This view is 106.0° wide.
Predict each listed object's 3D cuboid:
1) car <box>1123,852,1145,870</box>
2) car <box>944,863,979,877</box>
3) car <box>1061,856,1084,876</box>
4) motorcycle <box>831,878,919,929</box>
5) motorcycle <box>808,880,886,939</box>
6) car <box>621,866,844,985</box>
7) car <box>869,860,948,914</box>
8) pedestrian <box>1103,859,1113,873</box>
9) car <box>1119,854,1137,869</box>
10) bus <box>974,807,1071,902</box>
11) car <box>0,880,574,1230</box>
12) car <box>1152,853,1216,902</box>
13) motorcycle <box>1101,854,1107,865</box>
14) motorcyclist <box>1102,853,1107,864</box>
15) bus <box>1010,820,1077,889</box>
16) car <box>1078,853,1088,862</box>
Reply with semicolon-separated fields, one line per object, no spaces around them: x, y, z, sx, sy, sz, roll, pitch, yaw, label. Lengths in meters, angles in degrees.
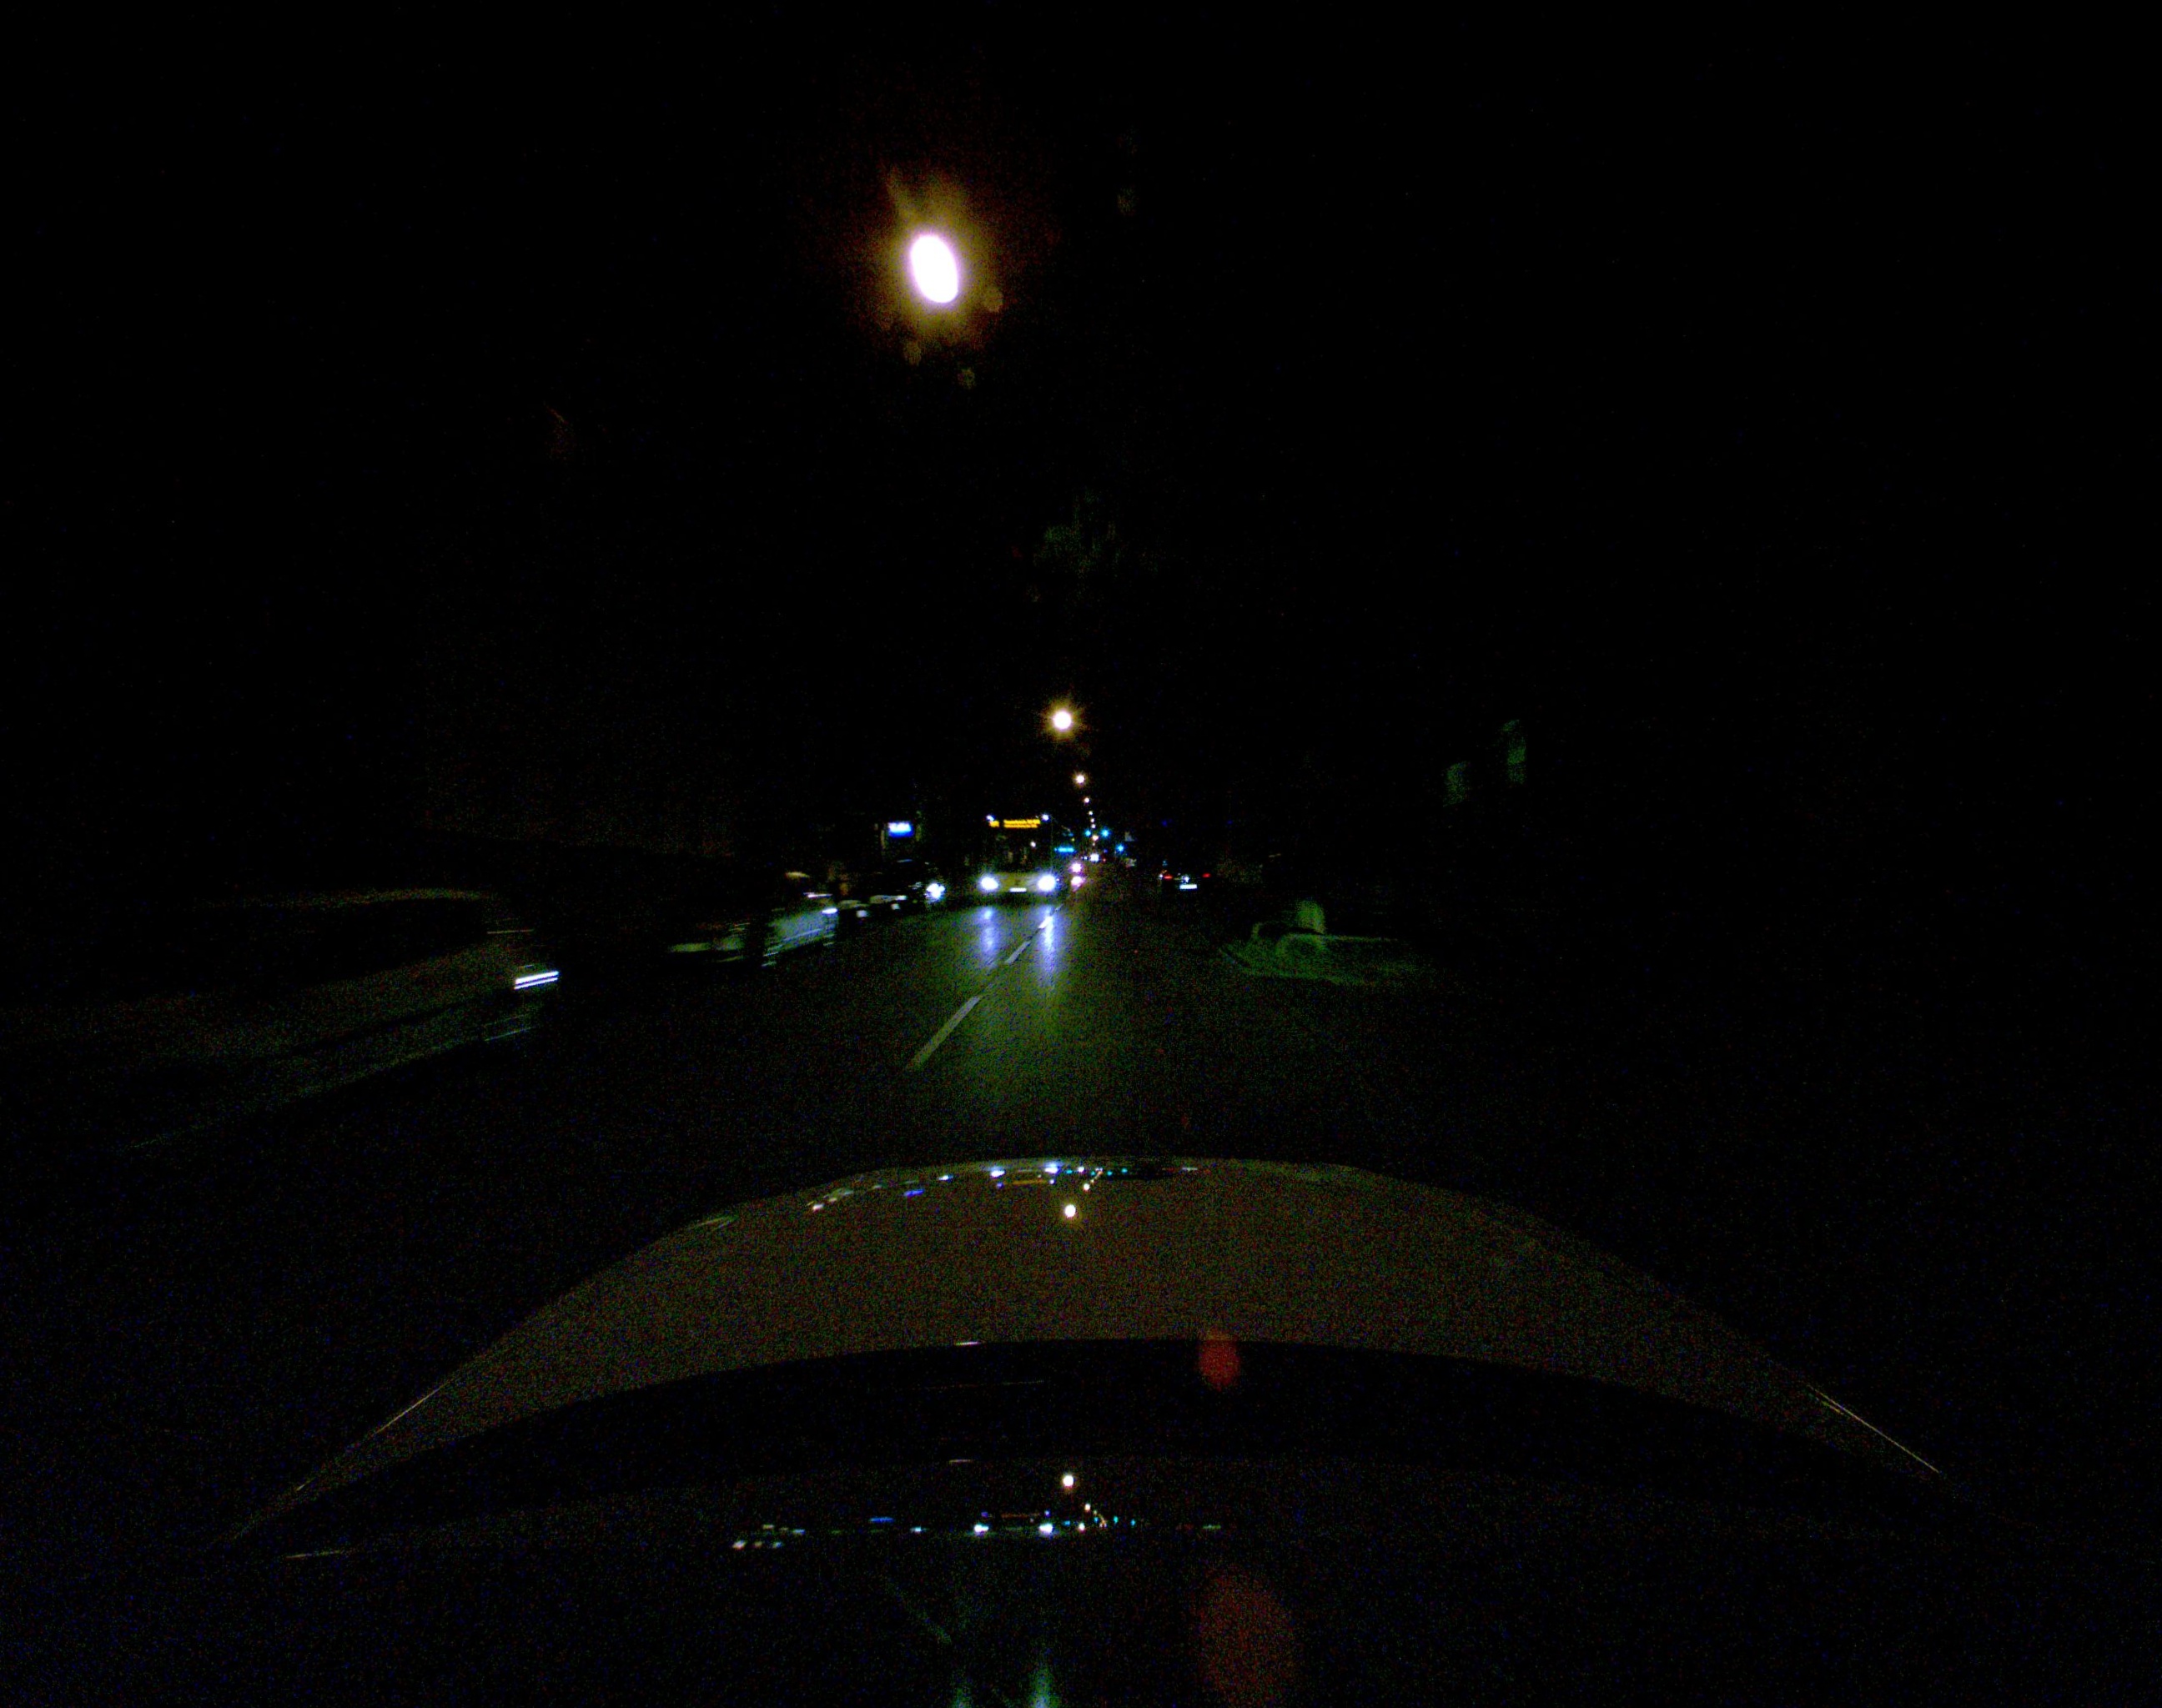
4.987;0.614;76.974;1.805;1.594;4.275;-3;0;1;car
-12.641;1.707;86.298;3.224;1.453;1.806;-1;-1;34;car
-0.630;0.934;64.322;1.640;1.422;3.870;-3;0;0;car
-4.948;1.170;19.477;2.180;1.131;0.720;-2;0;34;motorcycle
-5.055;1.145;17.460;0.720;1.147;2.182;-2;0;-41;motorcycle
-5.385;1.010;13.262;1.698;1.491;4.228;-3;0;1;car
-5.144;0.976;24.643;1.632;1.498;2.767;-2;-1;3;car
3.353;1.451;100.007;0.929;1.699;0.760;1;0;-28;pedestrian
5.215;0.822;90.519;1.862;1.526;4.151;-3;0;1;car
-2.025;0.014;32.722;2.827;3.177;10.501;-1;0;2;bus
-5.432;0.951;5.483;1.616;1.492;3.780;-1;-1;1;car
3.515;0.756;28.345;1.756;1.476;4.082;-3;0;2;car
3.792;0.962;132.160;0.927;1.752;2.625;-1;-1;2;motorcycle
3.792;0.792;132.297;0.845;1.752;0.806;-1;-1;1;motorcyclist
-1.761;0.035;41.825;2.827;3.177;7.664;-1;0;2;bus
0.499;0.762;168.627;1.937;1.717;4.001;-1;-1;2;car
